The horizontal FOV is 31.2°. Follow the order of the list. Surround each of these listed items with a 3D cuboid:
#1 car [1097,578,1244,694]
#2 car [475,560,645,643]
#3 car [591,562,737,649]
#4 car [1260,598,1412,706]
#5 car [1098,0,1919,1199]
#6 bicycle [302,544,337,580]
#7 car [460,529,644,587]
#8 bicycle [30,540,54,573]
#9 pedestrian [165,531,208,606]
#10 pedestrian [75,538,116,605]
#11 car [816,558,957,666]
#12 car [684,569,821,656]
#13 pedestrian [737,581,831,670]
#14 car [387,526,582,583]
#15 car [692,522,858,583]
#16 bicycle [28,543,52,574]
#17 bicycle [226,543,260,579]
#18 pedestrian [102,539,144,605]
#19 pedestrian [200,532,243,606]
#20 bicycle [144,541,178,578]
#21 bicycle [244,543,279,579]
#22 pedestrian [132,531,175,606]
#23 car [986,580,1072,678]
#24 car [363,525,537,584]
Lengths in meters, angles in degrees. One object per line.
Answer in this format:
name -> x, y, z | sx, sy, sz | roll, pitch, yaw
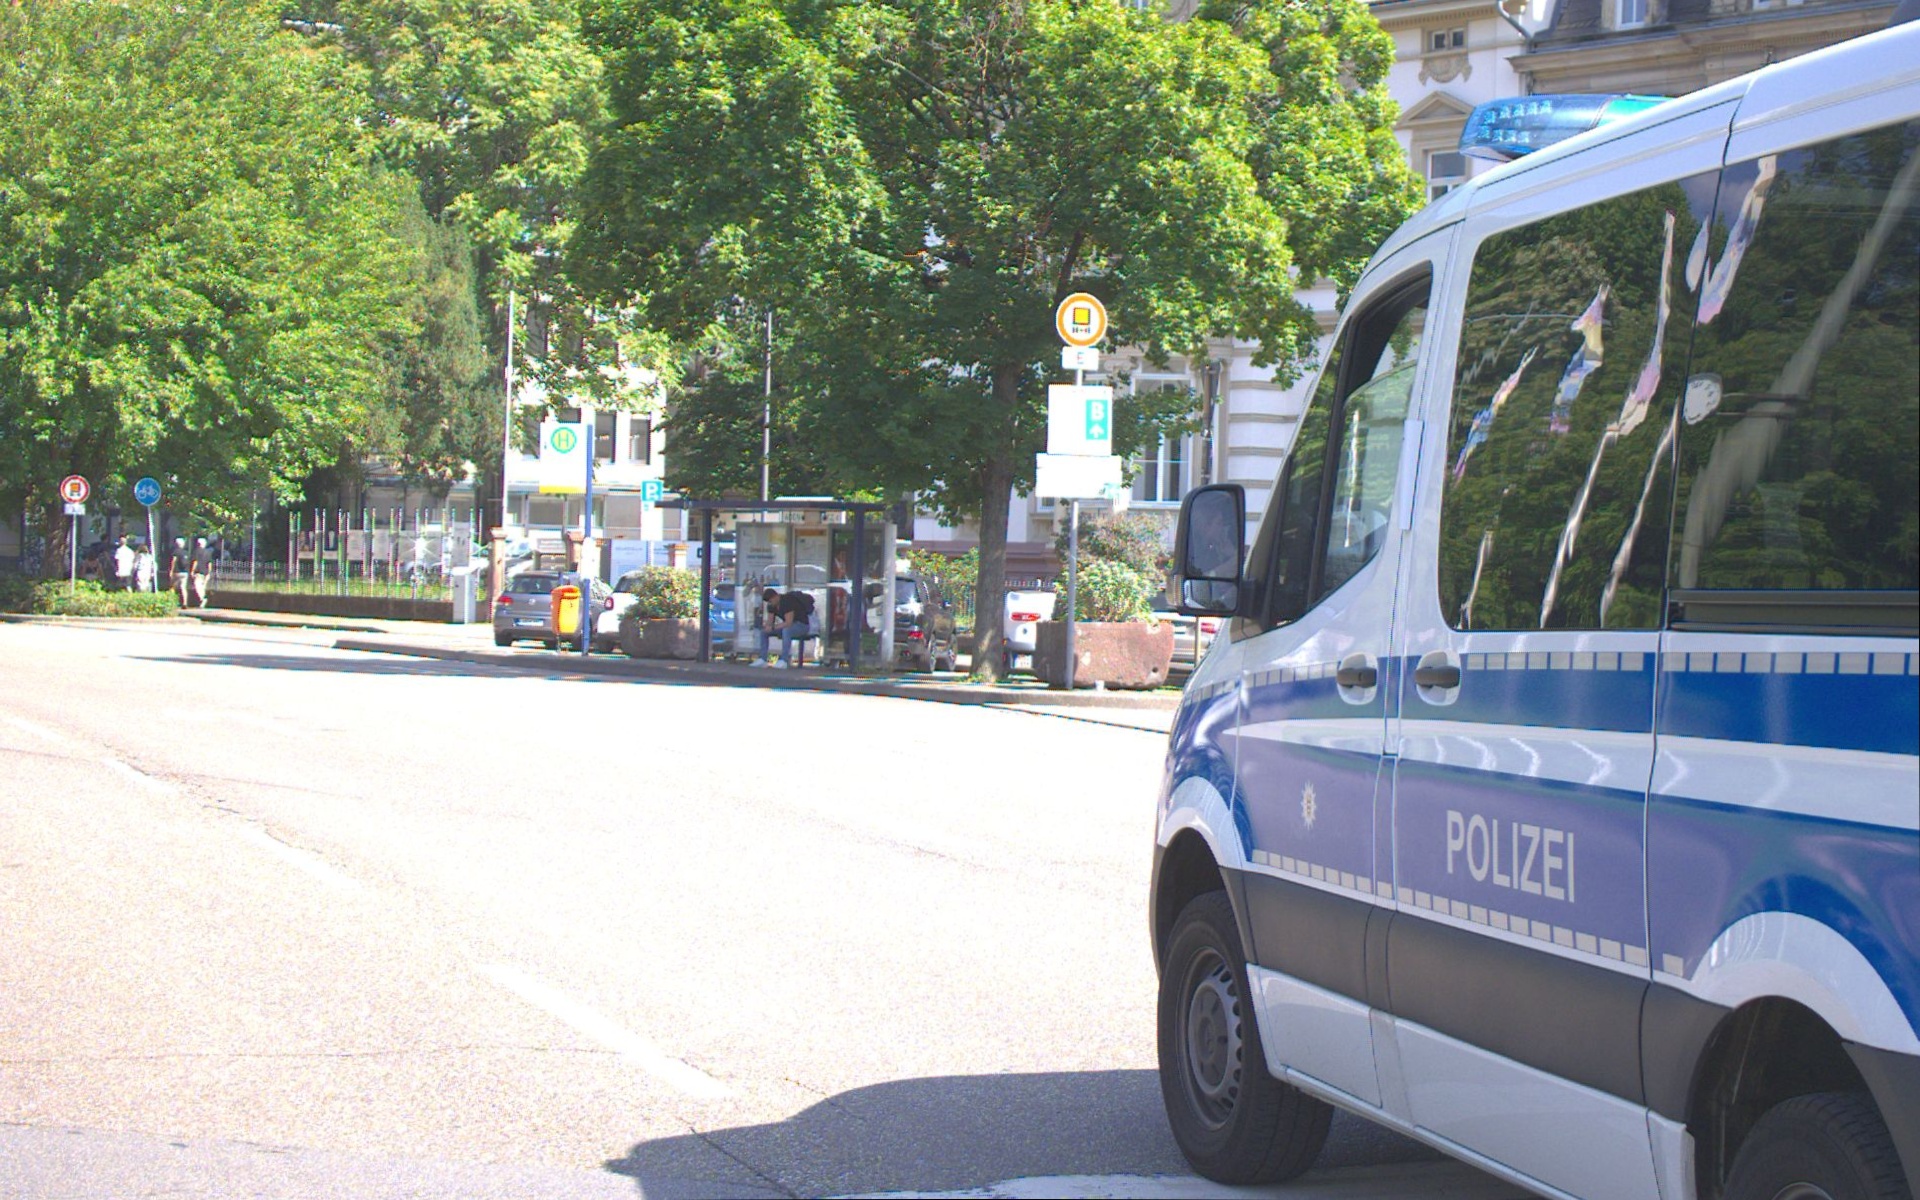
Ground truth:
car -> 3.213, 0.513, 51.793 | 1.709, 1.624, 4.314 | 2, 0, 10
car -> -7.544, 0.021, 65.205 | 1.823, 1.456, 4.105 | 2, 0, 14
car -> -5.432, 0.094, 63.574 | 1.709, 1.506, 3.810 | 2, 0, 10
car -> 5.351, 0.704, 48.567 | 1.601, 1.412, 3.818 | 2, 0, 14
car -> 1.914, 0.193, 6.620 | 2.072, 2.500, 4.930 | 2, 0, -12
bicycle -> -19.973, -1.196, 107.212 | 0.537, 1.081, 1.835 | 1, 1, -28
car -> -10.009, -1.020, 84.394 | 4.085, 1.331, 1.821 | 1, 1, -32
bicycle -> -28.931, -1.384, 108.334 | 0.405, 1.009, 1.341 | 0, 1, -30
pedestrian -> -19.497, -0.791, 86.619 | 0.771, 1.848, 0.829 | 2, 1, -31
pedestrian -> -21.780, -0.709, 86.647 | 0.771, 1.657, 0.829 | 2, 1, -29
car -> -1.196, 0.189, 57.826 | 1.708, 1.690, 4.273 | 2, 0, 7
car -> -3.641, 0.212, 60.986 | 1.708, 1.437, 3.810 | 2, 0, 7
pedestrian -> -2.440, 0.352, 47.649 | 0.791, 1.193, 1.019 | 2, 1, 39
car -> -11.916, -1.129, 86.227 | 4.466, 1.331, 1.821 | 1, 1, -32
car -> -5.187, -1.334, 96.684 | 4.307, 1.598, 1.821 | 1, 1, -32
bicycle -> -28.443, -1.274, 106.274 | 0.405, 0.938, 1.341 | 0, 1, -30
bicycle -> -22.146, -1.216, 106.162 | 0.537, 1.081, 1.835 | 1, 1, -28
pedestrian -> -21.373, -0.708, 87.773 | 0.771, 1.657, 0.829 | 2, 1, -32
pedestrian -> -18.715, -0.786, 87.119 | 0.771, 1.848, 0.829 | 2, 1, -31
bicycle -> -24.431, -1.236, 105.053 | 0.537, 1.081, 1.835 | 1, 1, -28
bicycle -> -21.629, -1.212, 106.464 | 0.537, 1.081, 1.835 | 1, 1, -28
pedestrian -> -20.197, -0.796, 86.050 | 0.771, 1.848, 0.829 | 2, 1, -31
car -> 1.104, 0.437, 54.502 | 1.198, 1.477, 2.288 | 2, 0, 4
car -> -13.469, -1.203, 90.862 | 4.143, 1.471, 1.878 | 1, 1, -35
